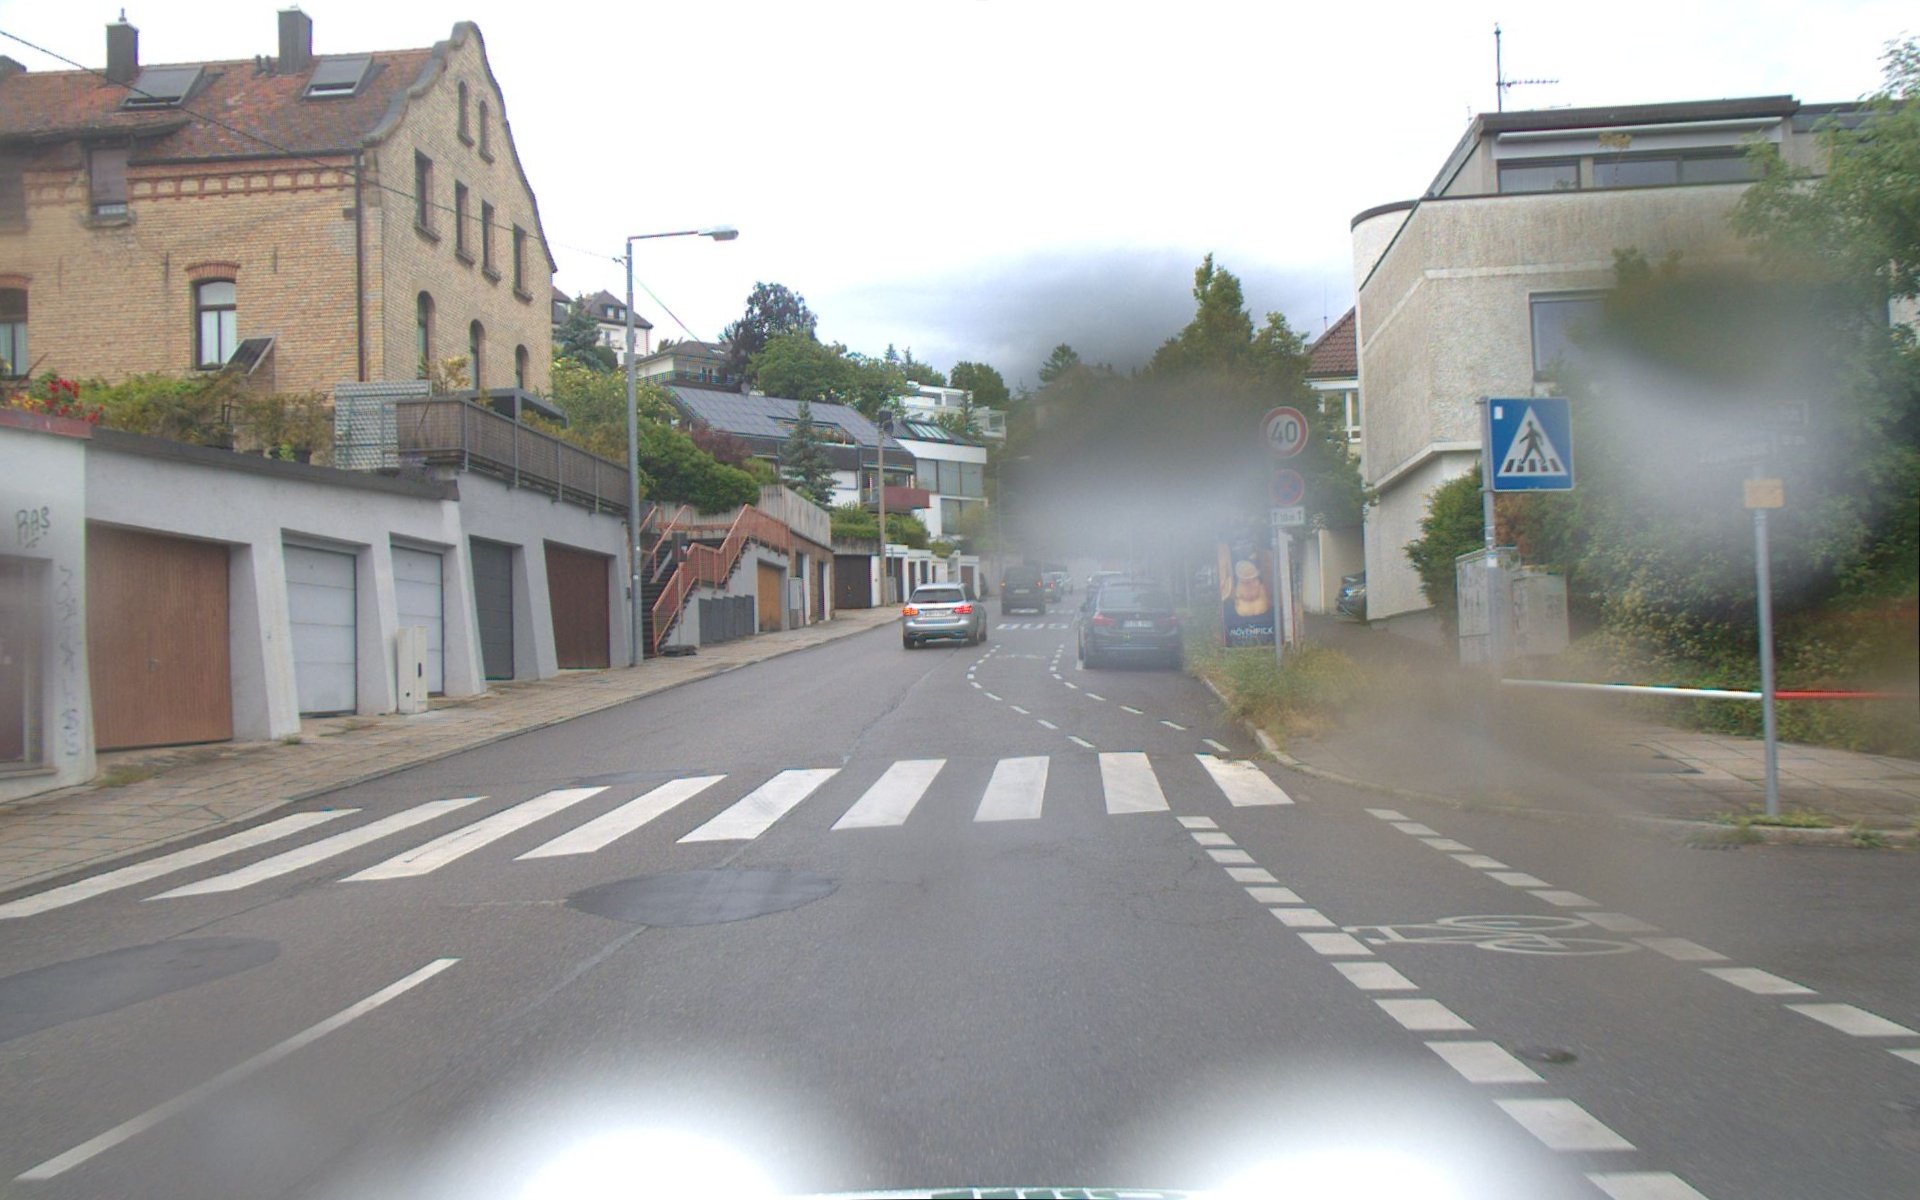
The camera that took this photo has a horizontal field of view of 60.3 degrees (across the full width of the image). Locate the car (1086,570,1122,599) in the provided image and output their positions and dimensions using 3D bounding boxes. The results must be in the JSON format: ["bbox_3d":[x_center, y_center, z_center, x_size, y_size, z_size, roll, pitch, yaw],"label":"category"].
[{"bbox_3d":[6.679,-0.742,76.550,1.437,1.276,3.585,-1,1,8],"label":"car"}]

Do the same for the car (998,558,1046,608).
[{"bbox_3d":[2.411,-0.663,64.187,1.786,1.851,4.002,-1,1,2],"label":"car"}]

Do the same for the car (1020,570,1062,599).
[{"bbox_3d":[3.998,-0.777,81.103,1.785,1.319,4.003,-1,1,6],"label":"car"}]

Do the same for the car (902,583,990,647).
[{"bbox_3d":[-0.275,0.311,39.325,1.773,1.384,4.002,1,1,4],"label":"car"}]

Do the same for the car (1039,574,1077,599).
[{"bbox_3d":[6.515,-0.919,109.513,1.691,1.634,3.551,0,0,17],"label":"car"}]

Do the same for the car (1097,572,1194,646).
[{"bbox_3d":[3.972,0.157,35.929,1.680,1.475,3.833,-1,1,0],"label":"car"}]

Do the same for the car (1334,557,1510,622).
[{"bbox_3d":[10.957,-0.242,39.165,3.904,1.439,1.726,-1,0,19],"label":"car"}]

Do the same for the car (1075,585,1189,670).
[{"bbox_3d":[3.121,0.453,30.695,1.734,1.401,4.349,-1,1,1],"label":"car"}]

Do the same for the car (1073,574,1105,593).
[{"bbox_3d":[9.484,-1.228,121.114,1.785,1.319,4.004,-1,1,12],"label":"car"}]
